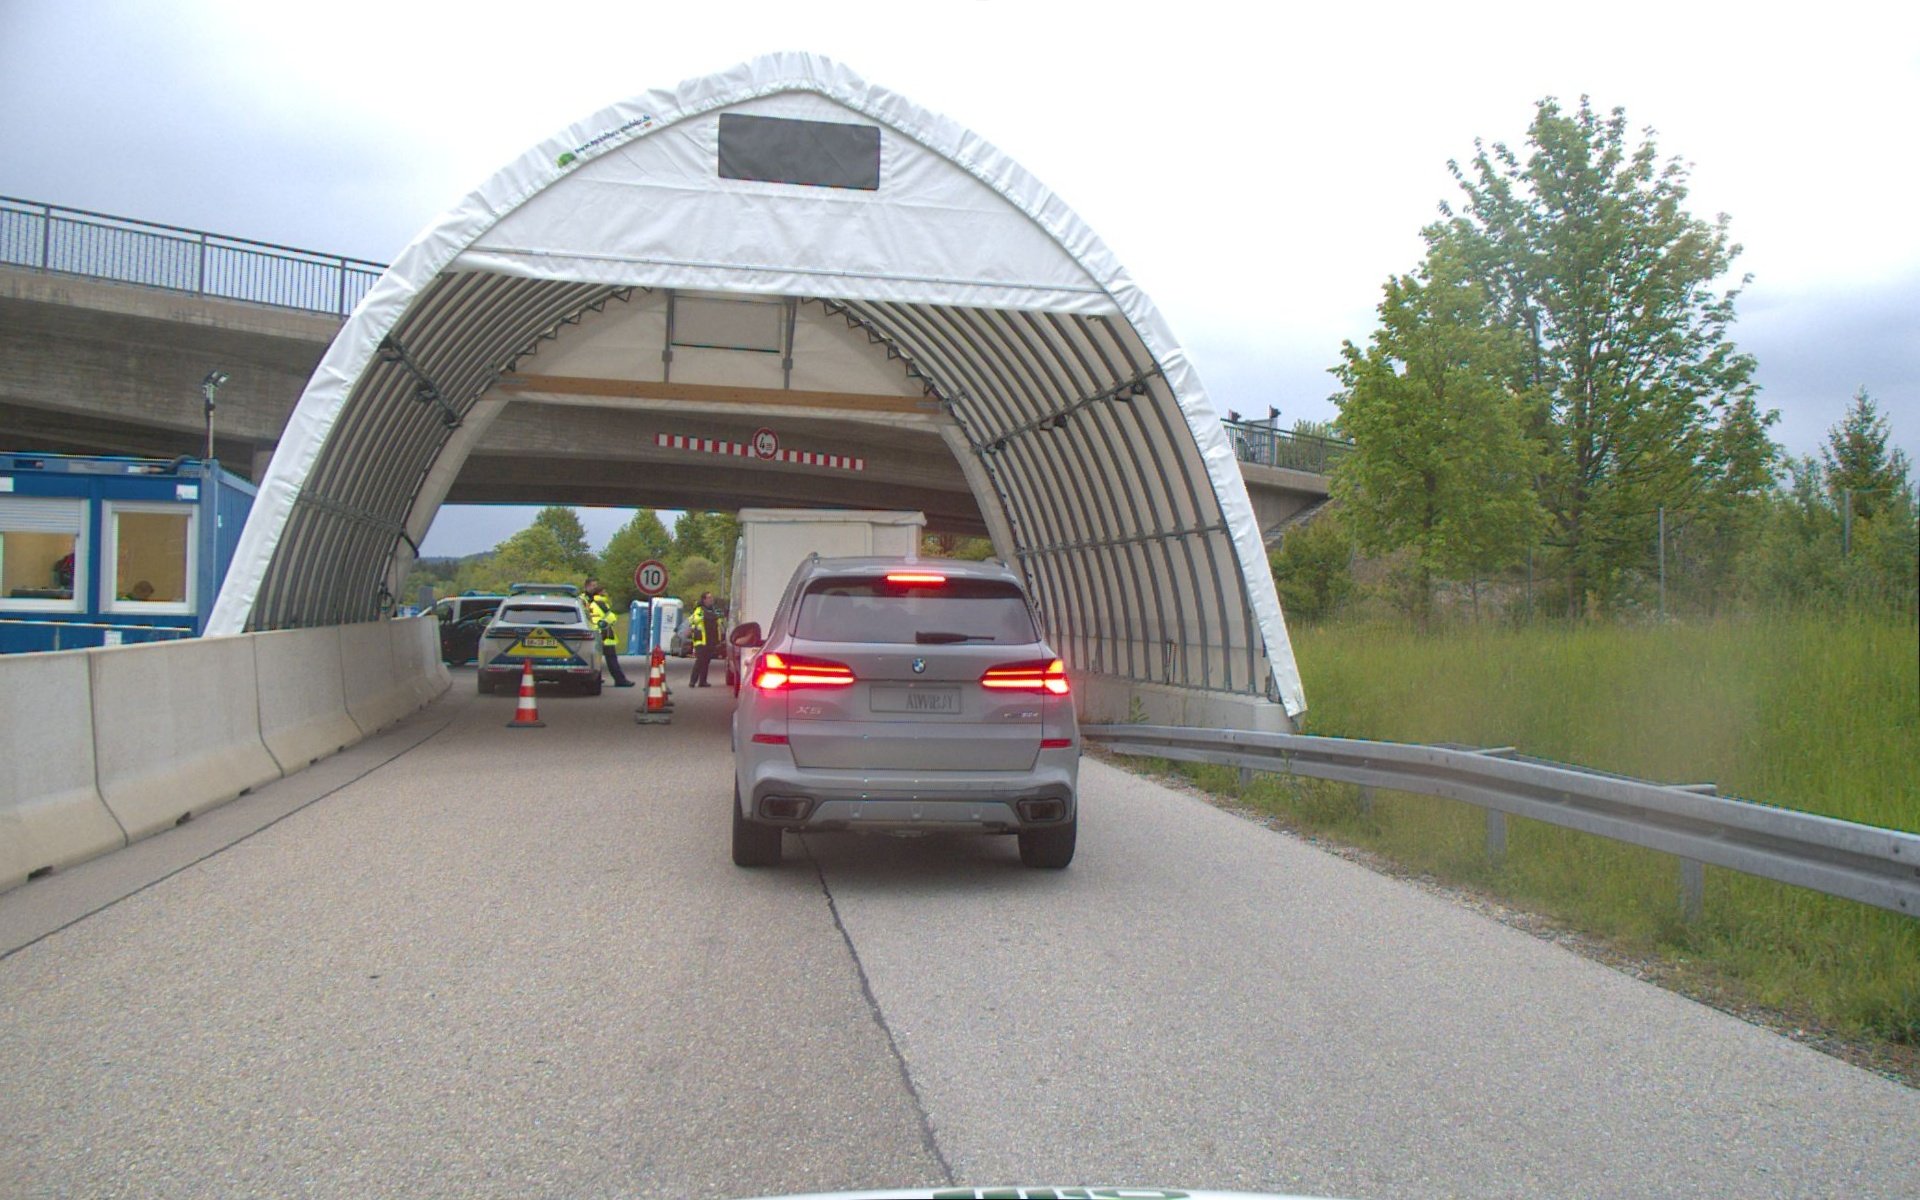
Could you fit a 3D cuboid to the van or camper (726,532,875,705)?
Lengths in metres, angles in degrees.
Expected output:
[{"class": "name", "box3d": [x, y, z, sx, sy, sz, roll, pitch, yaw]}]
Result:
[{"class": "van or camper", "box3d": [-2.755, 0.299, 27.427, 2.065, 2.563, 5.538, 0, 0, -10]}]

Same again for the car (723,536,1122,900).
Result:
[{"class": "car", "box3d": [-0.450, 0.595, 10.319, 1.957, 1.796, 3.991, 0, 0, -9]}]

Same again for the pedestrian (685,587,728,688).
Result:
[{"class": "pedestrian", "box3d": [-4.485, 0.649, 29.241, 0.740, 1.752, 0.780, 0, -1, -10]}]

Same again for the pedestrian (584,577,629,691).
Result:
[{"class": "pedestrian", "box3d": [-6.165, 0.591, 28.825, 0.736, 1.952, 0.760, 0, -1, -15]}]

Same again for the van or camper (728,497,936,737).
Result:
[{"class": "van or camper", "box3d": [-1.845, 0.203, 21.366, 2.189, 2.597, 6.597, 0, 0, -9]}]

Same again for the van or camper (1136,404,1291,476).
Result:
[{"class": "van or camper", "box3d": [8.273, -5.128, 53.580, 5.400, 1.801, 1.869, 1, -1, -40]}]

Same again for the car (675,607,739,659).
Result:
[{"class": "car", "box3d": [-8.928, 1.131, 58.239, 1.959, 1.752, 3.883, 0, 0, -13]}]

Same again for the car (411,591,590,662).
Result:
[{"class": "car", "box3d": [-13.495, 0.766, 48.709, 4.703, 2.049, 1.842, 0, -1, 7]}]

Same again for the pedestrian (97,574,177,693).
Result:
[{"class": "pedestrian", "box3d": [-9.839, 0.393, 19.781, 0.597, 1.397, 0.628, 0, -1, 8]}]

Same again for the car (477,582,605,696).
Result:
[{"class": "car", "box3d": [-6.748, 0.589, 26.631, 1.846, 1.675, 3.984, 0, 0, -15]}]

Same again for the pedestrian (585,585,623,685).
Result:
[{"class": "pedestrian", "box3d": [-6.418, 0.625, 29.815, 0.597, 1.784, 0.665, 0, -1, -6]}]
